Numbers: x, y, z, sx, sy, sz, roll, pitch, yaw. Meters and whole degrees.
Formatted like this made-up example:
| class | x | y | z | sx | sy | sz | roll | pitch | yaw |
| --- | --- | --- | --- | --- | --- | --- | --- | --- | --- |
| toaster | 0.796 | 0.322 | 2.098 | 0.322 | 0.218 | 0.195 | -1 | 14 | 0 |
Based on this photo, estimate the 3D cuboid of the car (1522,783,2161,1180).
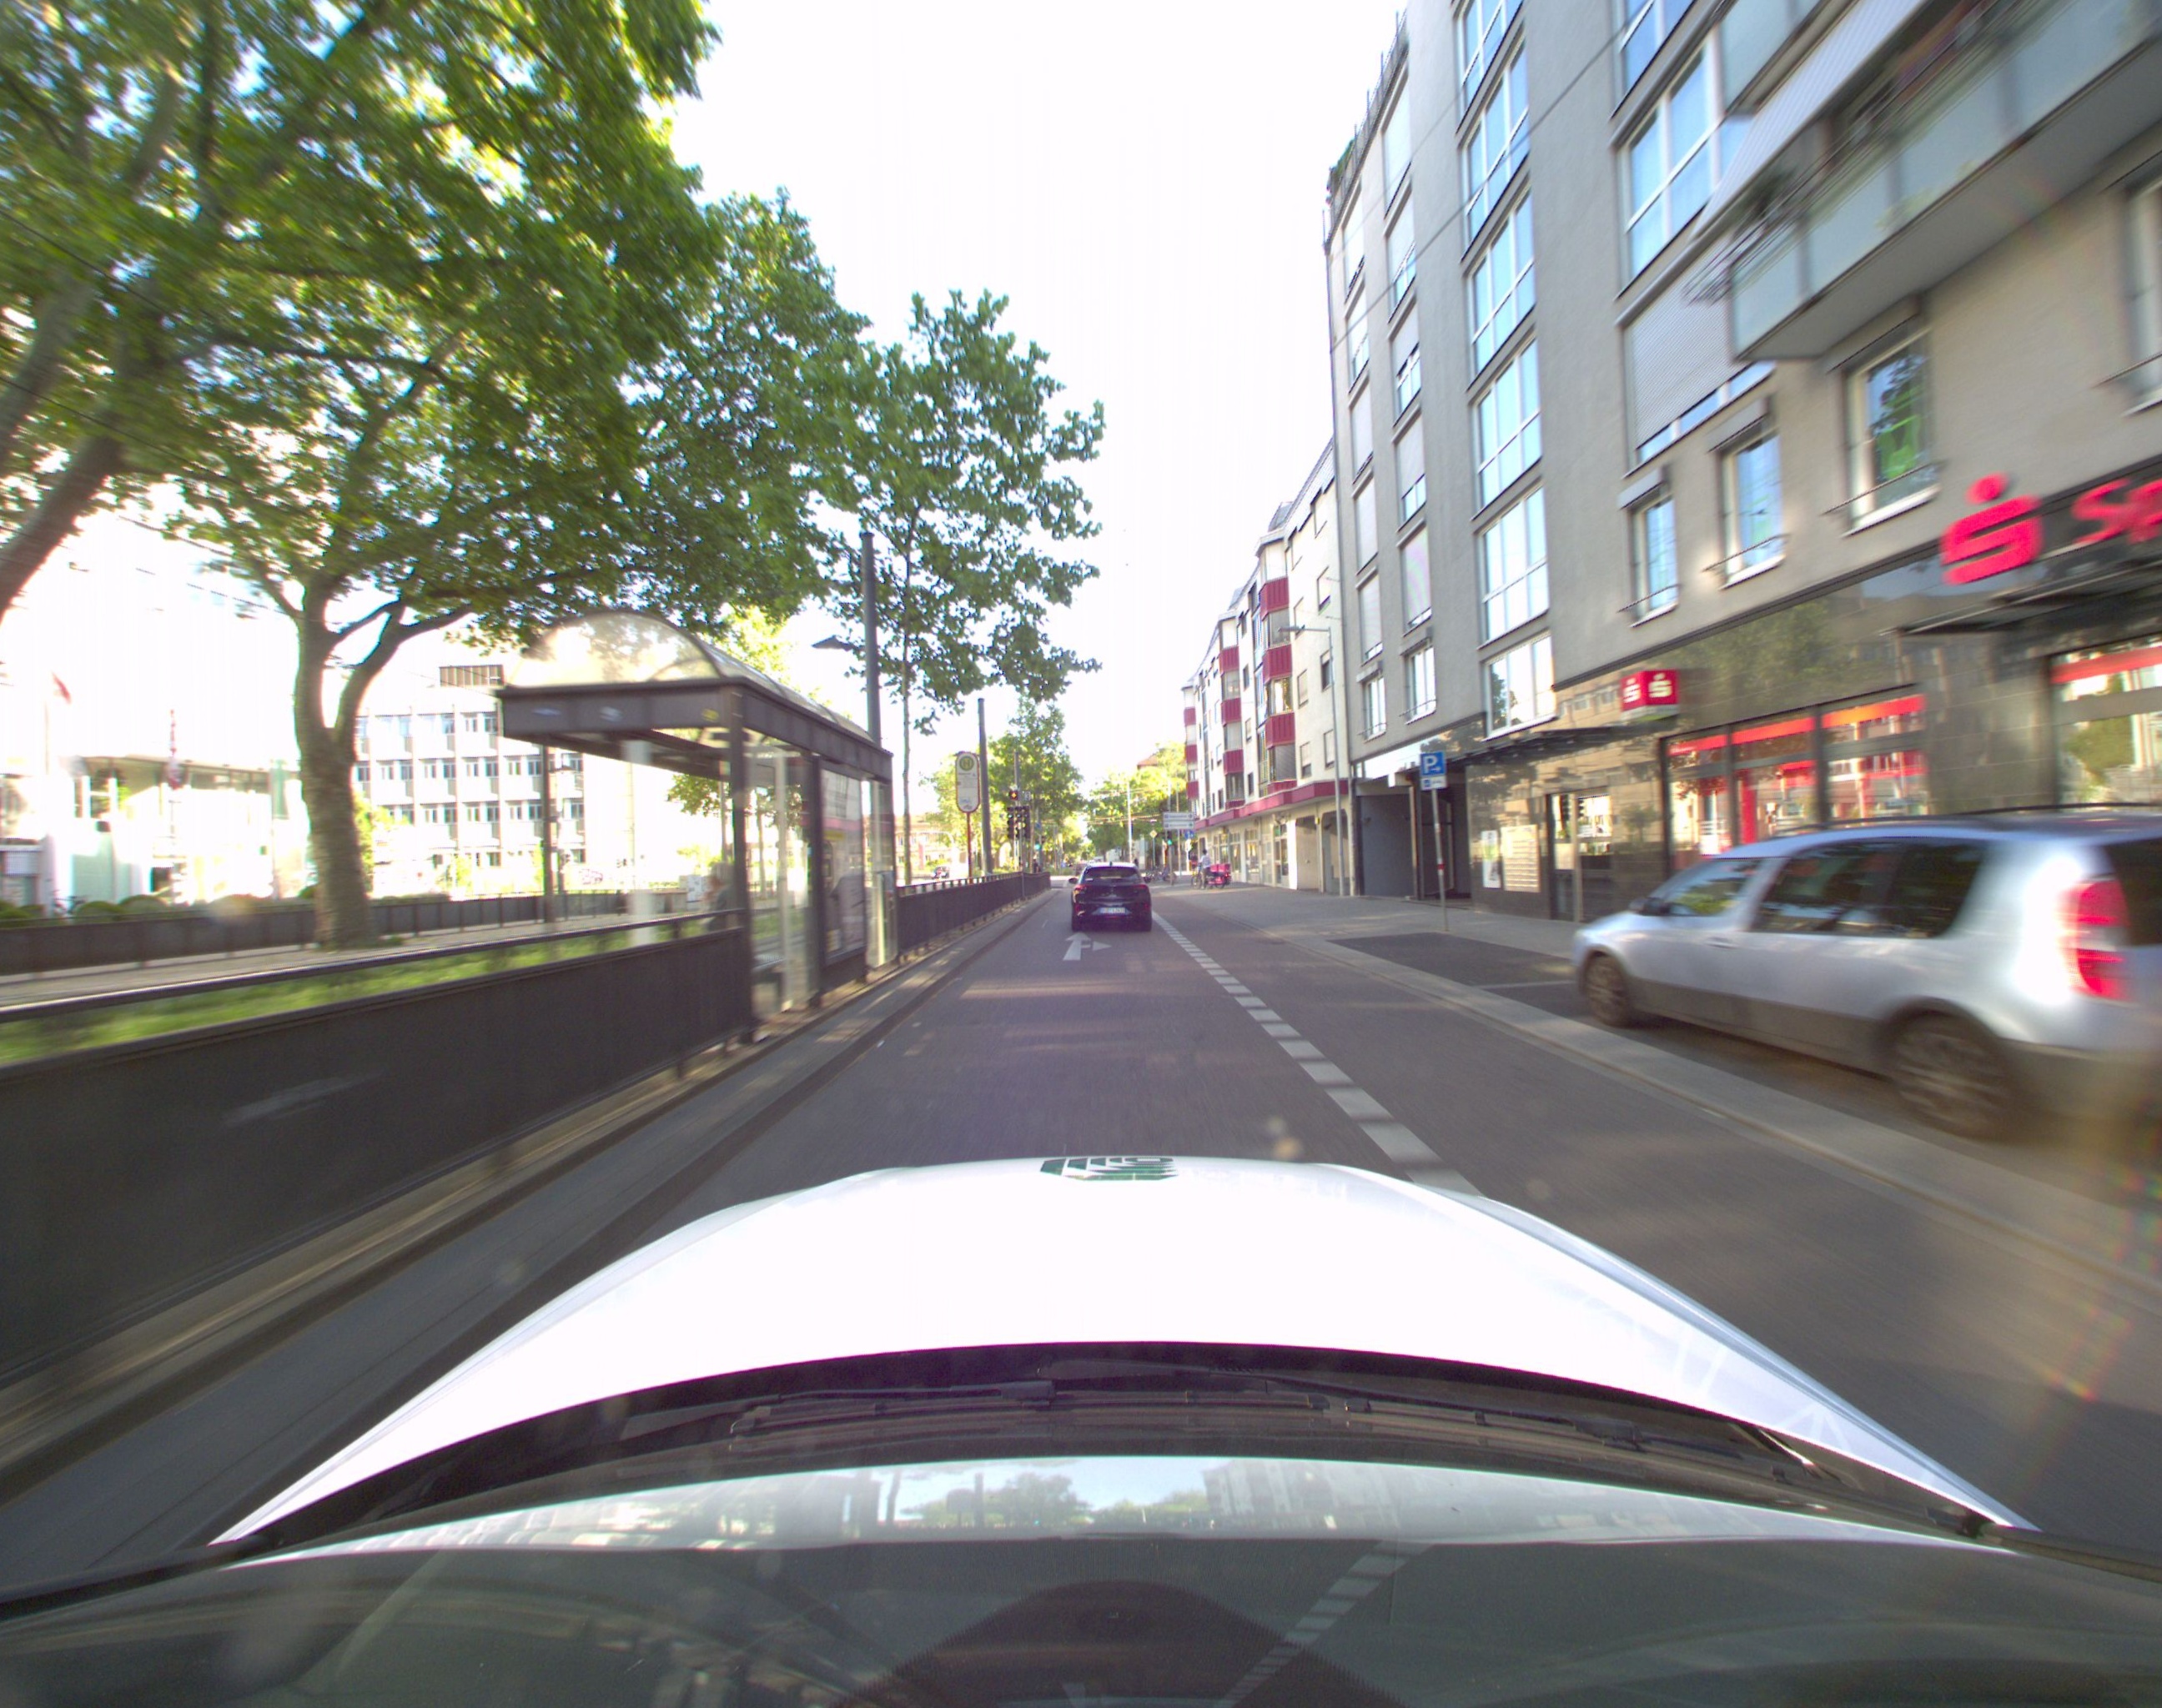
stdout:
| class | x | y | z | sx | sy | sz | roll | pitch | yaw |
| --- | --- | --- | --- | --- | --- | --- | --- | --- | --- |
| car | 5.112 | 0.510 | 5.588 | 1.826 | 1.622 | 4.285 | -5 | -1 | 1 |

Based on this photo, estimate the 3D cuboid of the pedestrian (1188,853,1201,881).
| class | x | y | z | sx | sy | sz | roll | pitch | yaw |
| --- | --- | --- | --- | --- | --- | --- | --- | --- | --- |
| pedestrian | 7.812 | 0.909 | 56.238 | 0.720 | 1.858 | 0.801 | -2 | -1 | 0 |

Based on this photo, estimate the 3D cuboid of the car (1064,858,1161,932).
| class | x | y | z | sx | sy | sz | roll | pitch | yaw |
| --- | --- | --- | --- | --- | --- | --- | --- | --- | --- |
| car | 0.689 | 0.834 | 18.553 | 1.898 | 1.425 | 4.216 | -2 | 0 | 1 |

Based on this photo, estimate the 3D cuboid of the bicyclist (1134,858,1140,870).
| class | x | y | z | sx | sy | sz | roll | pitch | yaw |
| --- | --- | --- | --- | --- | --- | --- | --- | --- | --- |
| bicyclist | 7.565 | 1.355 | 109.727 | 0.746 | 1.510 | 0.702 | -2 | -1 | 1 |

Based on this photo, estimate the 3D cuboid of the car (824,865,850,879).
| class | x | y | z | sx | sy | sz | roll | pitch | yaw |
| --- | --- | --- | --- | --- | --- | --- | --- | --- | --- |
| car | -33.745 | 2.459 | 112.776 | 1.984 | 1.703 | 4.384 | -3 | 0 | 5 |

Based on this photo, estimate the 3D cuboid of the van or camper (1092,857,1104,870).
| class | x | y | z | sx | sy | sz | roll | pitch | yaw |
| --- | --- | --- | --- | --- | --- | --- | --- | --- | --- |
| van or camper | 3.835 | 2.119 | 181.268 | 2.477 | 2.994 | 5.435 | 0 | -1 | 1 |

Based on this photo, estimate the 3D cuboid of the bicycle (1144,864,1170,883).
| class | x | y | z | sx | sy | sz | roll | pitch | yaw |
| --- | --- | --- | --- | --- | --- | --- | --- | --- | --- |
| bicycle | 4.956 | 1.268 | 52.862 | 1.615 | 1.199 | 0.497 | -2 | -1 | 4 |

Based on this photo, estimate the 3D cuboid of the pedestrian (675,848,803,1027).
| class | x | y | z | sx | sy | sz | roll | pitch | yaw |
| --- | --- | --- | --- | --- | --- | --- | --- | --- | --- |
| pedestrian | -2.702 | 0.627 | 6.498 | 0.624 | 1.319 | 0.801 | -2 | -1 | 2 |

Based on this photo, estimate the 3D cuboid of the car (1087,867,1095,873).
| class | x | y | z | sx | sy | sz | roll | pitch | yaw |
| --- | --- | --- | --- | --- | --- | --- | --- | --- | --- |
| car | 2.431 | 3.897 | 195.956 | 1.898 | 1.425 | 4.216 | -2 | 0 | 1 |

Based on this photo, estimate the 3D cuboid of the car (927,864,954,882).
| class | x | y | z | sx | sy | sz | roll | pitch | yaw |
| --- | --- | --- | --- | --- | --- | --- | --- | --- | --- |
| car | -16.607 | 2.185 | 96.433 | 1.983 | 1.948 | 4.433 | -2 | 0 | 7 |

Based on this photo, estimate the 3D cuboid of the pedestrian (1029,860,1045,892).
| class | x | y | z | sx | sy | sz | roll | pitch | yaw |
| --- | --- | --- | --- | --- | --- | --- | --- | --- | --- |
| pedestrian | -2.443 | 1.195 | 44.835 | 0.730 | 1.747 | 0.713 | -2 | -1 | 5 |

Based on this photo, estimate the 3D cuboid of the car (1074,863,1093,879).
| class | x | y | z | sx | sy | sz | roll | pitch | yaw |
| --- | --- | --- | --- | --- | --- | --- | --- | --- | --- |
| car | 0.316 | 1.691 | 82.515 | 1.826 | 1.623 | 4.285 | 0 | -1 | 1 |

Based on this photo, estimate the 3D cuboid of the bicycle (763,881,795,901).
| class | x | y | z | sx | sy | sz | roll | pitch | yaw |
| --- | --- | --- | --- | --- | --- | --- | --- | --- | --- |
| bicycle | -15.748 | 1.937 | 42.474 | 0.808 | 0.946 | 1.729 | -2 | 0 | 7 |

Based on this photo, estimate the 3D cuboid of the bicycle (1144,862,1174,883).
| class | x | y | z | sx | sy | sz | roll | pitch | yaw |
| --- | --- | --- | --- | --- | --- | --- | --- | --- | --- |
| bicycle | 4.992 | 1.190 | 52.292 | 1.823 | 1.221 | 0.496 | -2 | -1 | 3 |

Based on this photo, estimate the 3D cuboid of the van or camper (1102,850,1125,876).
| class | x | y | z | sx | sy | sz | roll | pitch | yaw |
| --- | --- | --- | --- | --- | --- | --- | --- | --- | --- |
| van or camper | 4.239 | 1.222 | 107.973 | 2.368 | 3.125 | 7.548 | -5 | -1 | -1 |

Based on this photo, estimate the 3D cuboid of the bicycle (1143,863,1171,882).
| class | x | y | z | sx | sy | sz | roll | pitch | yaw |
| --- | --- | --- | --- | --- | --- | --- | --- | --- | --- |
| bicycle | 4.995 | 1.222 | 53.609 | 1.793 | 1.199 | 0.546 | -2 | -2 | 4 |

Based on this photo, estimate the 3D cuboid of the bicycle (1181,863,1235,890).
| class | x | y | z | sx | sy | sz | roll | pitch | yaw |
| --- | --- | --- | --- | --- | --- | --- | --- | --- | --- |
| bicycle | 6.059 | 1.090 | 39.082 | 0.968 | 1.183 | 2.569 | -2 | -1 | -37 |

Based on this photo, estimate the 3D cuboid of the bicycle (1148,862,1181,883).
| class | x | y | z | sx | sy | sz | roll | pitch | yaw |
| --- | --- | --- | --- | --- | --- | --- | --- | --- | --- |
| bicycle | 5.201 | 1.149 | 50.794 | 1.935 | 1.170 | 0.571 | -2 | -1 | -3 |

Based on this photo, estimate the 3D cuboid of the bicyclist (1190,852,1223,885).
| class | x | y | z | sx | sy | sz | roll | pitch | yaw |
| --- | --- | --- | --- | --- | --- | --- | --- | --- | --- |
| bicyclist | 6.037 | 0.709 | 39.092 | 1.065 | 1.540 | 1.067 | -2 | -1 | -37 |

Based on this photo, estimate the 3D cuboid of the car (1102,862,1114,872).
| class | x | y | z | sx | sy | sz | roll | pitch | yaw |
| --- | --- | --- | --- | --- | --- | --- | --- | --- | --- |
| car | 4.439 | 2.098 | 134.683 | 1.784 | 1.510 | 3.874 | -4 | -1 | 1 |

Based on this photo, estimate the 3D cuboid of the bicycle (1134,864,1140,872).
| class | x | y | z | sx | sy | sz | roll | pitch | yaw |
| --- | --- | --- | --- | --- | --- | --- | --- | --- | --- |
| bicycle | 7.594 | 1.923 | 109.741 | 0.637 | 1.070 | 1.951 | -2 | -1 | 1 |

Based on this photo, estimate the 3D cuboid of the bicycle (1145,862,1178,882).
| class | x | y | z | sx | sy | sz | roll | pitch | yaw |
| --- | --- | --- | --- | --- | --- | --- | --- | --- | --- |
| bicycle | 5.100 | 1.149 | 51.412 | 1.973 | 1.199 | 0.590 | -2 | -1 | -4 |

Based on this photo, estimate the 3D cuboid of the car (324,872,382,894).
| class | x | y | z | sx | sy | sz | roll | pitch | yaw |
| --- | --- | --- | --- | --- | --- | --- | --- | --- | --- |
| car | -70.798 | 2.782 | 79.324 | 1.987 | 2.013 | 3.999 | -2 | 0 | 0 |

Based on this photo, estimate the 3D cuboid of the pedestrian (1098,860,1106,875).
| class | x | y | z | sx | sy | sz | roll | pitch | yaw |
| --- | --- | --- | --- | --- | --- | --- | --- | --- | --- |
| pedestrian | 2.835 | 1.880 | 111.431 | 1.033 | 2.024 | 1.212 | -2 | -1 | -1 |
